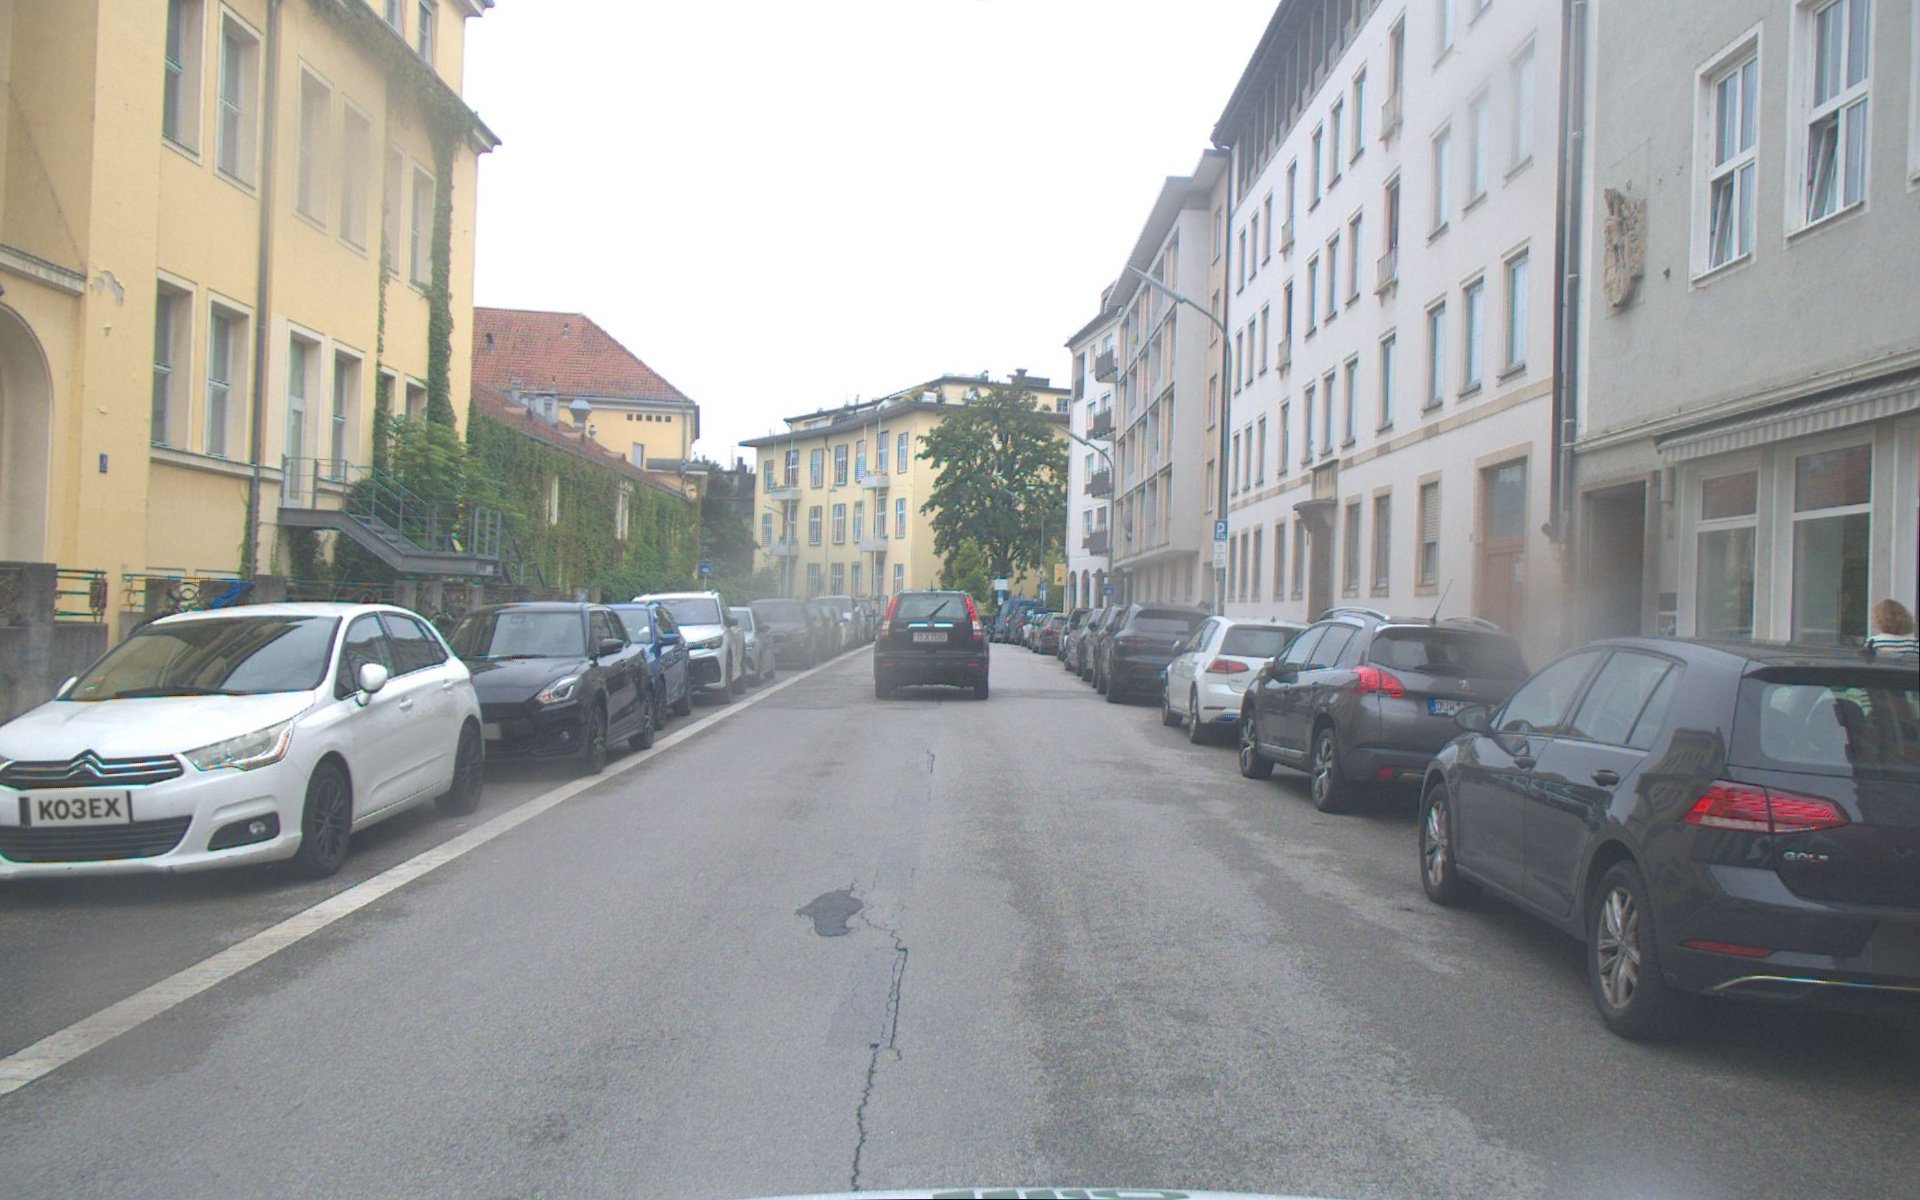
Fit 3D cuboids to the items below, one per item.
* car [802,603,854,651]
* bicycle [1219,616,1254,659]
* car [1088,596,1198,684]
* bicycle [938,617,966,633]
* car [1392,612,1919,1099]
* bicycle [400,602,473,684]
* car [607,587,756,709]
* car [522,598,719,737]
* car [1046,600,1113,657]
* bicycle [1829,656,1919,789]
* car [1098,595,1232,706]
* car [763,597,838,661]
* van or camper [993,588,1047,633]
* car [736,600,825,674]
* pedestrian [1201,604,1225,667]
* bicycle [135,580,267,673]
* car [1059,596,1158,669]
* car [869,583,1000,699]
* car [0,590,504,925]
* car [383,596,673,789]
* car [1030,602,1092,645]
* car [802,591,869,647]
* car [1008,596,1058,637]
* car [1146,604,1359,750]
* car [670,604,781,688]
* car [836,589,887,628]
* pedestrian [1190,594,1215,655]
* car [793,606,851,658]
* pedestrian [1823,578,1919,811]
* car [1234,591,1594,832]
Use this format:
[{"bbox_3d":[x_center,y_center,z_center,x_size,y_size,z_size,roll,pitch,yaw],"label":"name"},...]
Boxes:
[{"bbox_3d":[-4.320,0.864,54.602,1.546,1.518,3.728,0,0,-2],"label":"car"},{"bbox_3d":[7.818,1.041,46.826,0.645,1.183,2.028,0,0,0],"label":"bicycle"},{"bbox_3d":[3.514,0.735,32.423,1.742,1.612,4.272,0,0,1],"label":"car"},{"bbox_3d":[-0.590,1.836,123.217,2.177,1.136,0.606,1,-1,41],"label":"bicycle"},{"bbox_3d":[3.277,0.854,7.246,1.658,1.476,4.083,4,0,1],"label":"car"},{"bbox_3d":[-8.235,0.658,26.075,0.565,1.209,1.562,4,0,0],"label":"bicycle"},{"bbox_3d":[-4.142,0.663,25.195,1.646,1.662,4.355,-1,0,-2],"label":"car"},{"bbox_3d":[-4.128,0.757,20.698,1.645,1.531,3.973,-1,0,-1],"label":"car"},{"bbox_3d":[3.430,0.792,48.082,1.637,1.561,3.881,1,0,0],"label":"car"},{"bbox_3d":[7.846,1.005,13.865,0.324,1.022,1.521,1,0,0],"label":"bicycle"},{"bbox_3d":[3.279,0.762,27.170,1.742,1.612,4.330,2,0,2],"label":"car"},{"bbox_3d":[-4.233,0.745,44.402,1.746,1.565,4.147,2,0,-2],"label":"car"},{"bbox_3d":[3.055,0.521,85.535,2.021,2.270,5.431,0,0,-6],"label":"van or camper"},{"bbox_3d":[-4.123,0.820,38.551,1.746,1.565,4.193,2,0,-2],"label":"car"},{"bbox_3d":[6.570,0.925,43.008,0.520,1.612,0.560,1,0,0],"label":"pedestrian"},{"bbox_3d":[-10.869,0.377,23.713,1.525,1.209,0.578,4,-1,-2],"label":"bicycle"},{"bbox_3d":[3.356,0.696,38.206,1.818,1.571,4.815,0,0,-1],"label":"car"},{"bbox_3d":[-0.340,0.610,26.872,1.954,1.724,4.380,0,0,1],"label":"car"},{"bbox_3d":[-4.145,0.748,9.911,1.688,1.554,4.086,-1,0,-1],"label":"car"},{"bbox_3d":[-3.830,0.742,15.326,1.645,1.522,3.985,-1,0,-1],"label":"car"},{"bbox_3d":[3.519,0.794,58.334,1.760,1.445,4.481,0,0,-2],"label":"car"},{"bbox_3d":[-4.438,0.649,59.630,1.952,1.908,4.758,1,0,1],"label":"car"},{"bbox_3d":[3.480,0.769,79.818,1.925,1.848,4.933,1,0,-3],"label":"car"},{"bbox_3d":[3.462,0.857,20.279,1.658,1.489,4.081,4,0,-2],"label":"car"},{"bbox_3d":[-4.292,0.806,30.764,1.646,1.451,3.893,0,0,-2],"label":"car"},{"bbox_3d":[-3.900,0.313,65.961,1.666,1.447,4.425,1,0,1],"label":"car"},{"bbox_3d":[6.656,0.669,45.396,0.584,1.683,0.630,0,0,0],"label":"pedestrian"},{"bbox_3d":[-4.111,0.924,49.589,1.547,1.481,3.902,0,0,-2],"label":"car"},{"bbox_3d":[6.936,0.674,12.196,0.719,1.654,0.828,0,0,0],"label":"pedestrian"},{"bbox_3d":[3.576,0.799,13.814,1.658,1.611,4.081,4,0,-2],"label":"car"}]
